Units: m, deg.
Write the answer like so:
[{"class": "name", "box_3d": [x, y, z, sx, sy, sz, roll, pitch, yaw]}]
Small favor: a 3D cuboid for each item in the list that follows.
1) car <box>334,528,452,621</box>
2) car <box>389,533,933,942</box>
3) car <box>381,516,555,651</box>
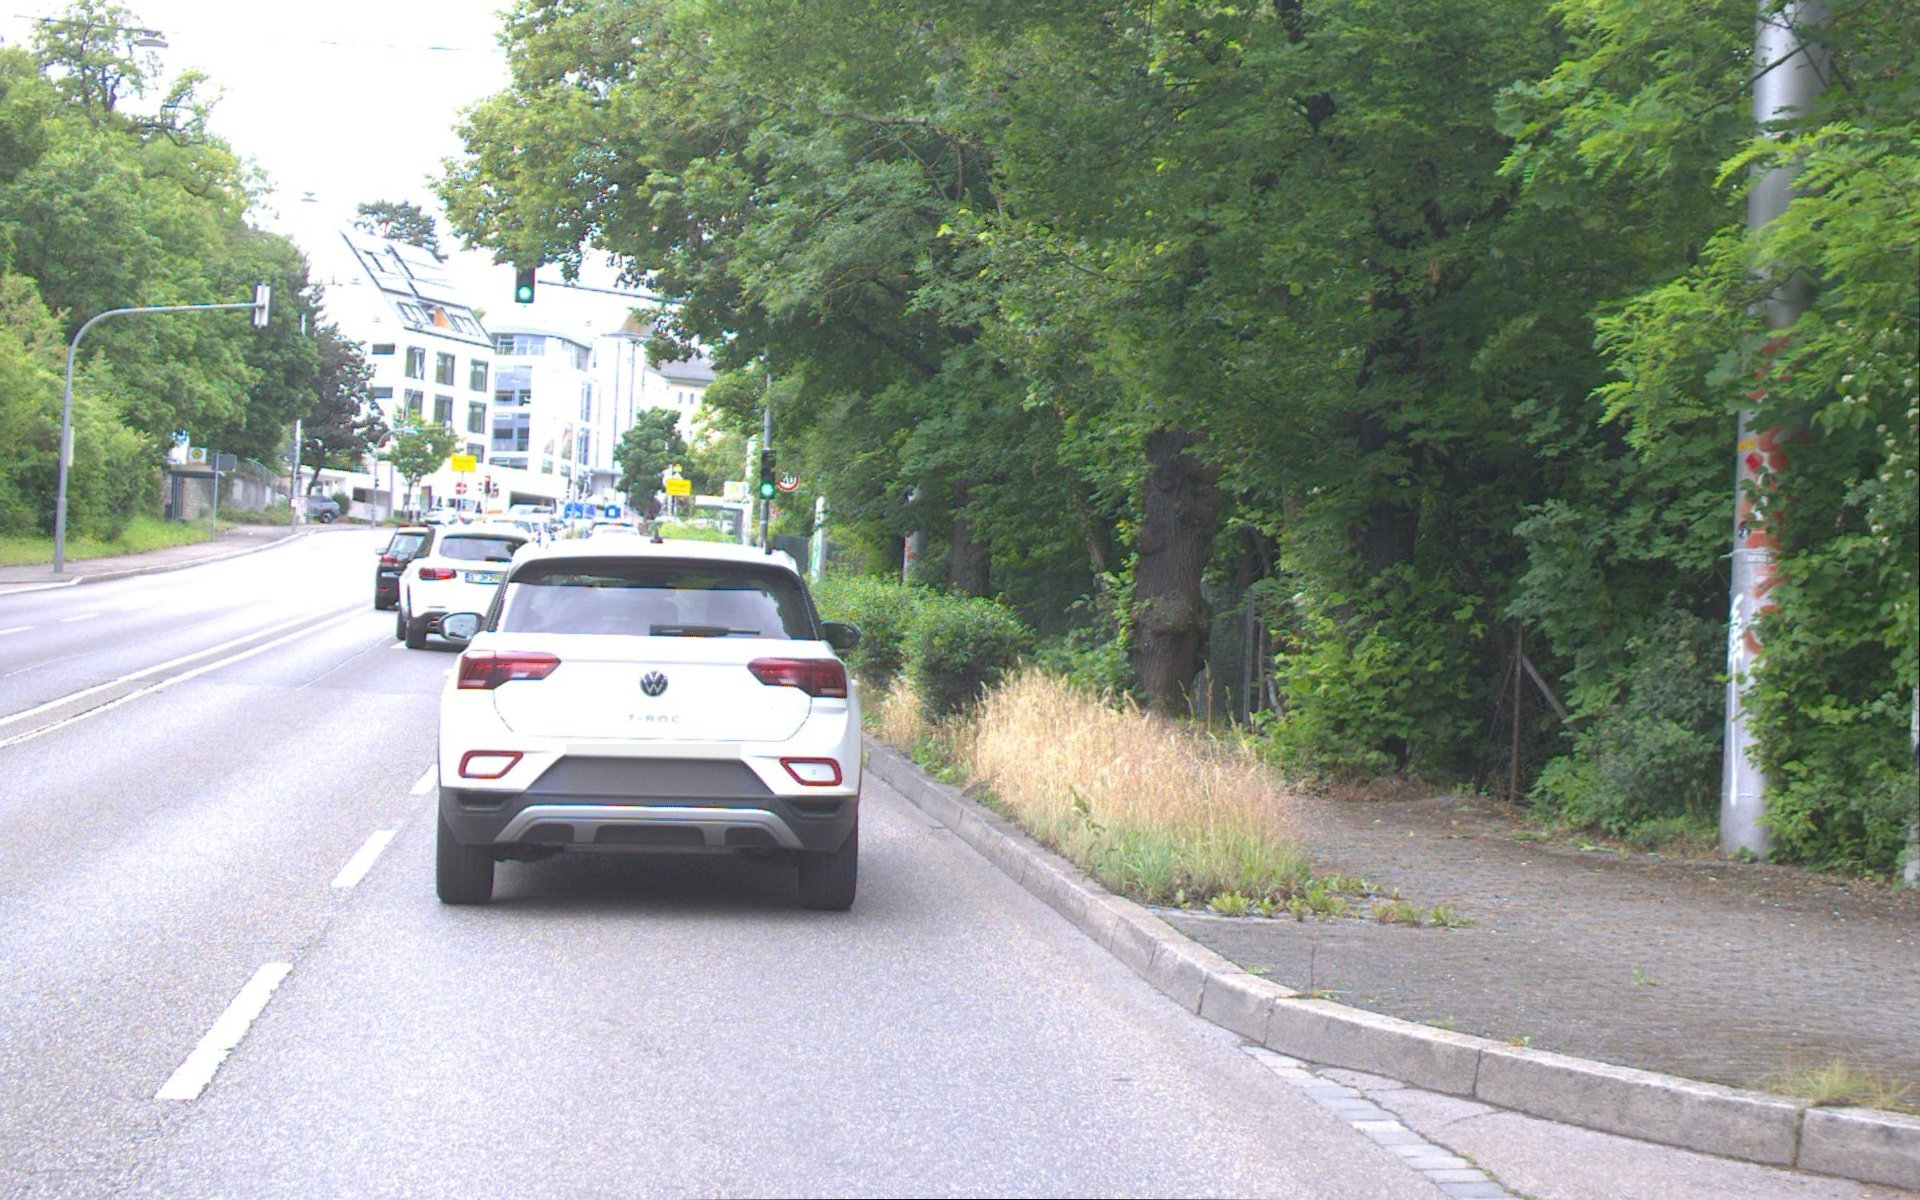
[{"class": "car", "box_3d": [-10.042, -0.483, 61.009, 1.949, 1.461, 4.001, 2, 2, -9]}, {"class": "car", "box_3d": [-1.501, 0.516, 15.667, 2.000, 1.590, 4.001, -1, 1, -12]}, {"class": "car", "box_3d": [-6.541, -0.192, 45.415, 1.851, 1.697, 4.001, 0, 0, -14]}]
